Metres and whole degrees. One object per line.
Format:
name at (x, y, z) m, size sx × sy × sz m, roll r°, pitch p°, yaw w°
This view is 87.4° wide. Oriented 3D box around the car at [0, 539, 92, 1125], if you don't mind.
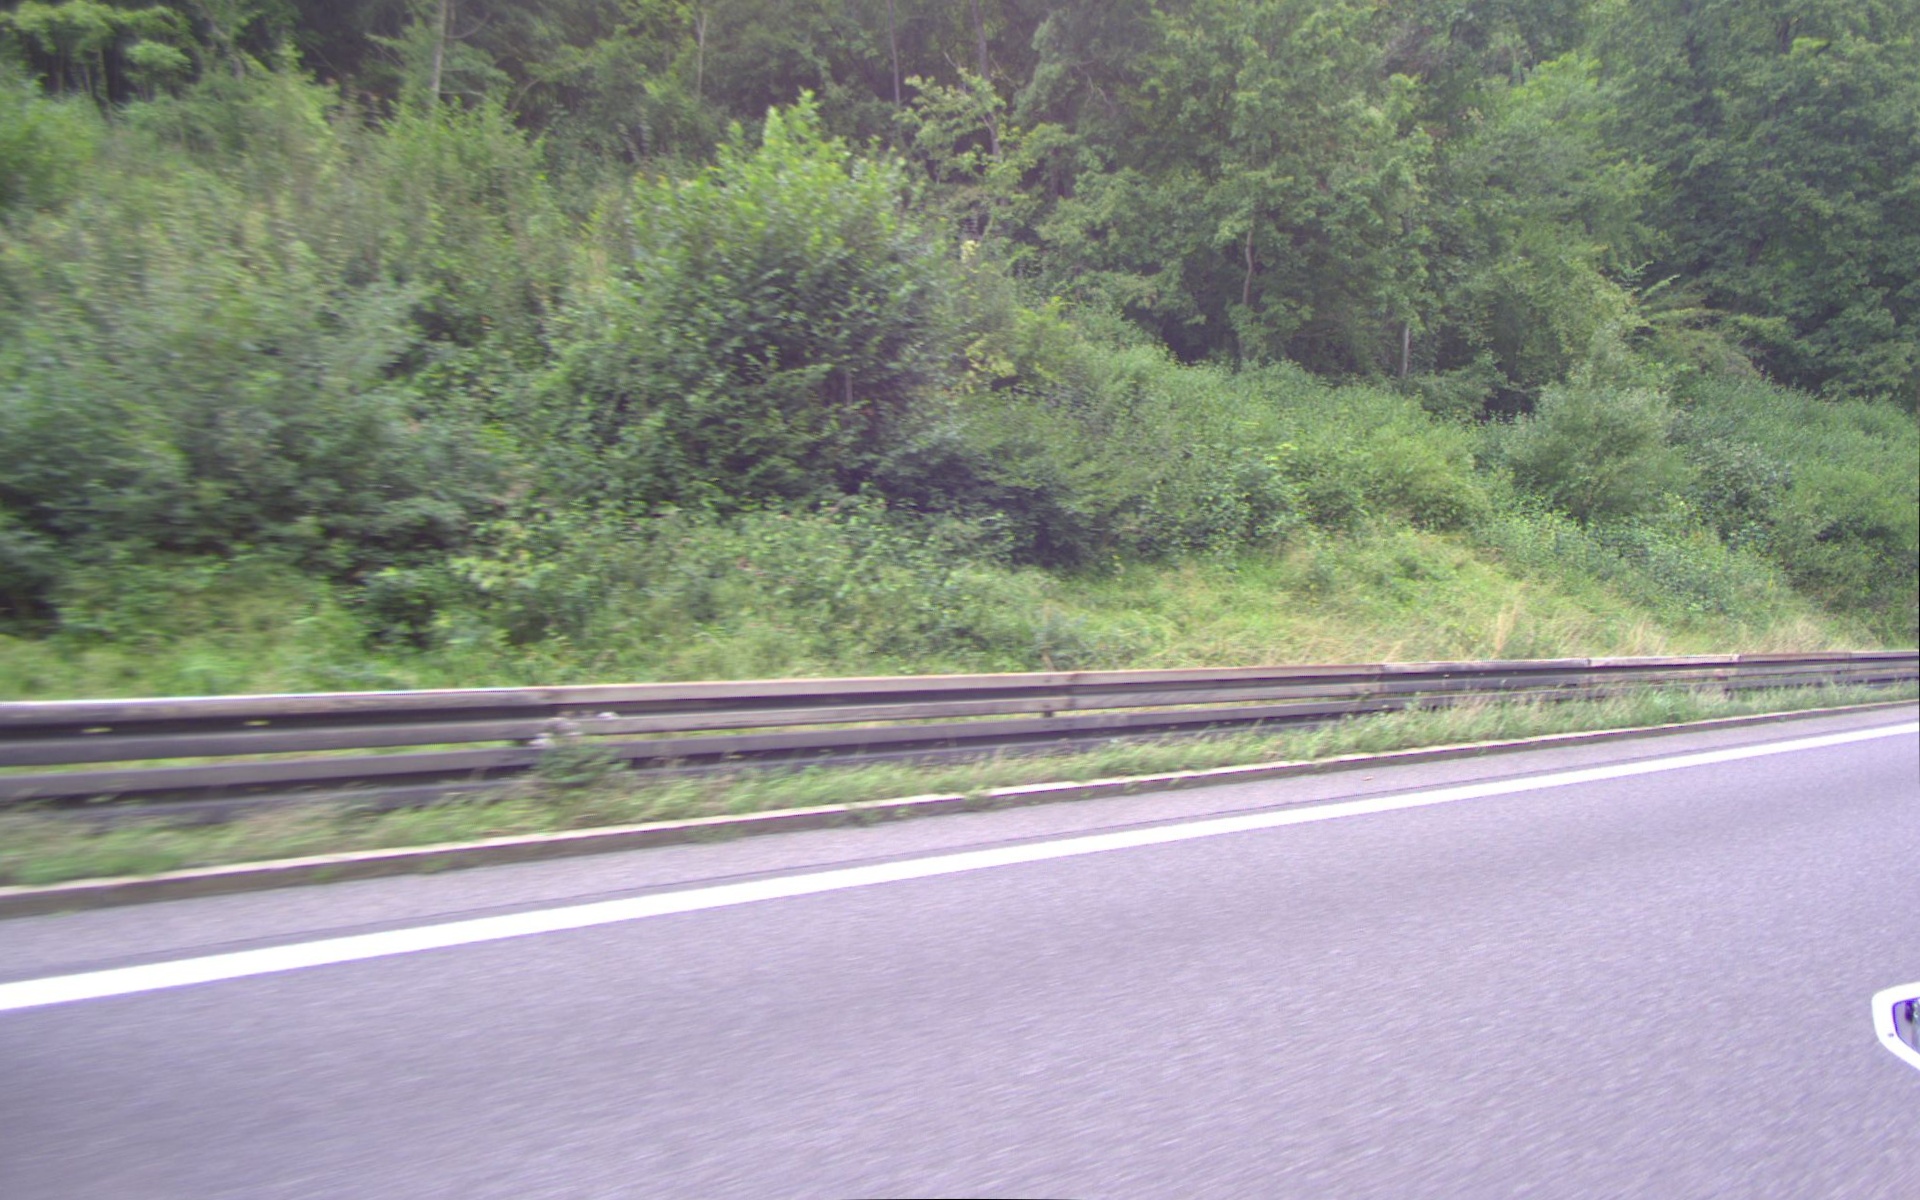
car at (-4.597, 0.561, 1.241) m, size 5.063 × 1.483 × 1.752 m, roll 1°, pitch 1°, yaw -31°
